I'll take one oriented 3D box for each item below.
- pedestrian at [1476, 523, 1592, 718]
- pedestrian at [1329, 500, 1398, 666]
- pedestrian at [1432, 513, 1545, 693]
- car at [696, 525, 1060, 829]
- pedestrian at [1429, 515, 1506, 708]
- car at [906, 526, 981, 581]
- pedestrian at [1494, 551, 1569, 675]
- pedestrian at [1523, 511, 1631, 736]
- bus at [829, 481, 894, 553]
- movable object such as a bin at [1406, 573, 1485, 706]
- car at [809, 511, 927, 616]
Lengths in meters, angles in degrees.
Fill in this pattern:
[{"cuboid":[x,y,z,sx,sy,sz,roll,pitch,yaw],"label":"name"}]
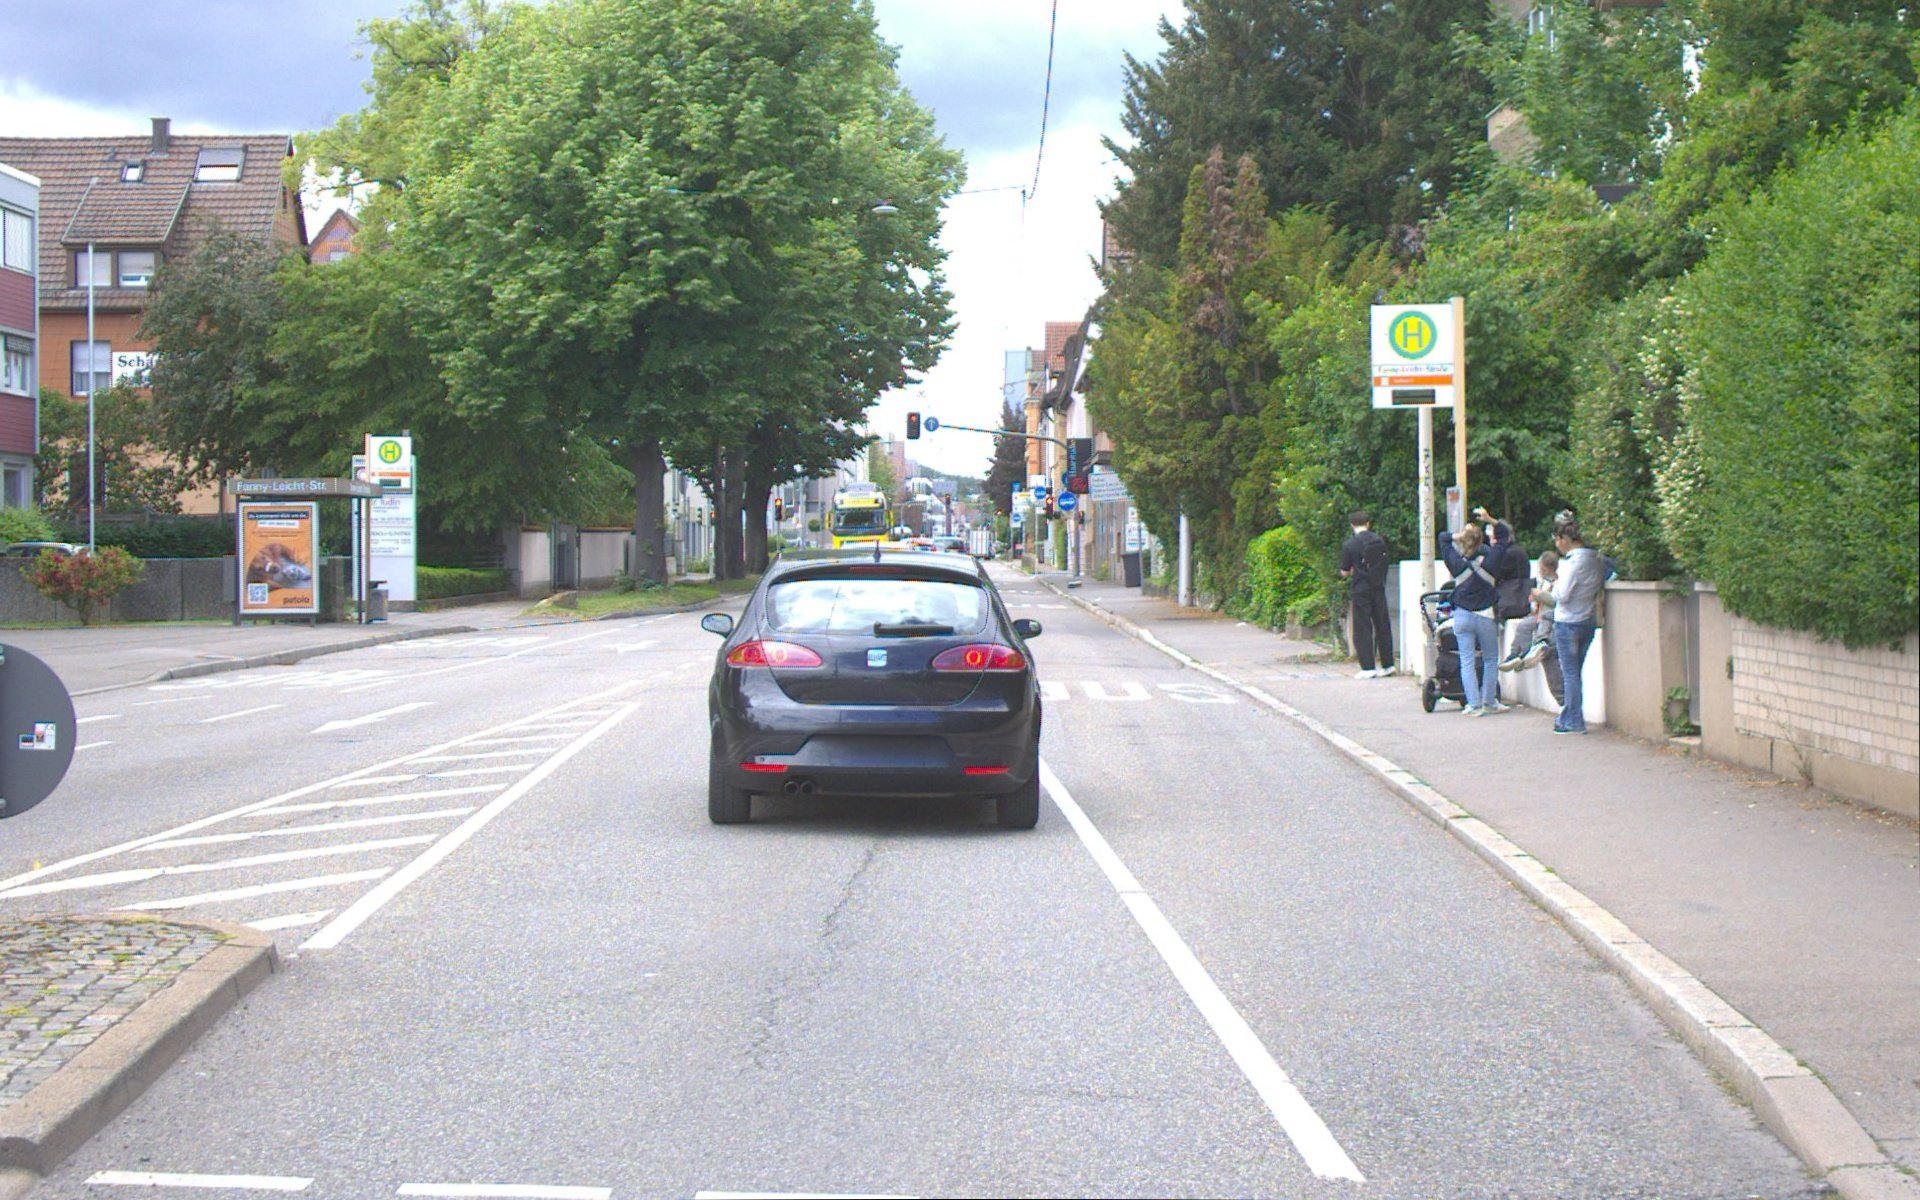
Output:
[{"cuboid":[4.338,0.154,25.973,0.620,1.422,0.512,-2,2,38],"label":"pedestrian"},{"cuboid":[4.211,-0.180,35.894,0.585,1.706,0.530,-2,1,-1],"label":"pedestrian"},{"cuboid":[4.510,0.019,29.375,0.779,1.495,0.605,-2,1,-6],"label":"pedestrian"},{"cuboid":[-0.531,0.345,18.914,1.759,1.444,3.715,2,1,-4],"label":"car"},{"cuboid":[4.070,0.087,27.565,0.550,1.512,0.361,-2,2,9],"label":"pedestrian"},{"cuboid":[-0.492,-1.329,97.722,1.941,1.476,4.254,-1,2,-3],"label":"car"},{"cuboid":[4.602,0.098,27.699,0.454,0.961,0.383,-4,2,-6],"label":"pedestrian"},{"cuboid":[4.399,0.161,24.523,0.543,1.550,0.471,-4,1,-9],"label":"pedestrian"},{"cuboid":[-4.394,-3.715,154.282,2.868,3.125,6.398,0,1,-1],"label":"bus"},{"cuboid":[4.022,0.323,28.465,0.441,1.054,0.567,-3,2,26],"label":"movable object such as a bin"},{"cuboid":[-1.527,-0.654,58.427,1.819,1.693,4.253,-1,2,1],"label":"car"}]
